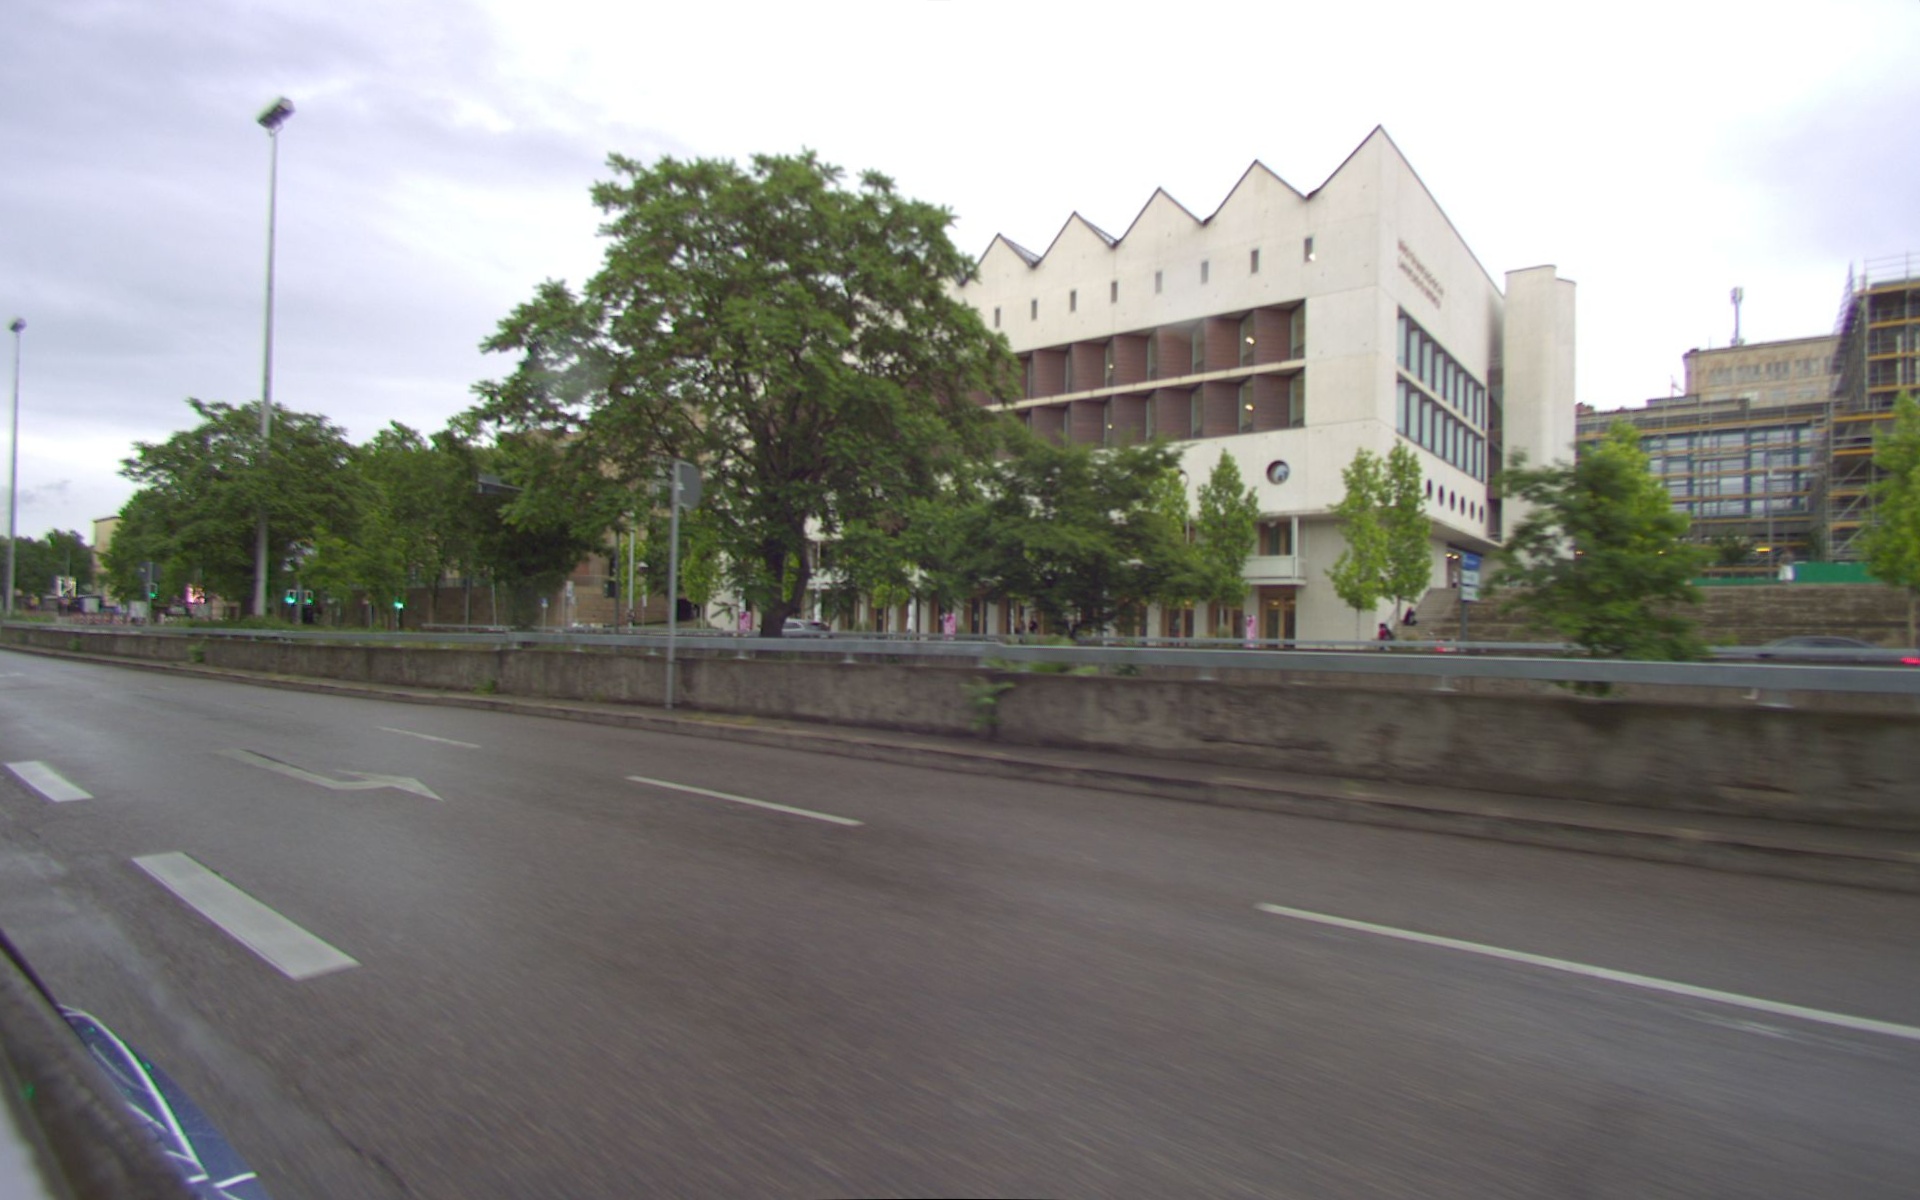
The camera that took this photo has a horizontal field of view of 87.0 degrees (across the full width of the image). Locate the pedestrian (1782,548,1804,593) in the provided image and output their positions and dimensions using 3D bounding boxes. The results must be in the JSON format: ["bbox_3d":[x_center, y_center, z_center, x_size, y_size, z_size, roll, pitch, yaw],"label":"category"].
[{"bbox_3d":[38.740,-1.362,47.090,0.602,2.029,0.635,0,0,21],"label":"pedestrian"}]

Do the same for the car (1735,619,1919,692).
[{"bbox_3d":[20.756,1.277,24.203,3.470,1.567,1.678,0,0,37],"label":"car"}]

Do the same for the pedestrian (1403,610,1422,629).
[{"bbox_3d":[21.757,0.930,48.657,0.628,0.894,0.798,0,0,41],"label":"pedestrian"}]

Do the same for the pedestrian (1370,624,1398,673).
[{"bbox_3d":[16.911,1.912,40.332,0.827,1.880,1.076,0,0,34],"label":"pedestrian"}]

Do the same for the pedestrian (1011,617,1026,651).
[{"bbox_3d":[3.321,1.923,57.435,0.729,1.873,0.703,0,0,-8],"label":"pedestrian"}]

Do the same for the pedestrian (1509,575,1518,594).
[{"bbox_3d":[33.743,-0.939,61.708,0.413,1.120,0.313,0,-1,-34],"label":"pedestrian"}]

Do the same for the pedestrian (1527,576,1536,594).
[{"bbox_3d":[35.602,-0.929,63.014,0.307,1.120,0.420,0,0,1],"label":"pedestrian"}]

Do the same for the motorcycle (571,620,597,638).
[{"bbox_3d":[-26.504,2.036,71.408,0.603,1.191,1.800,0,0,26],"label":"motorcycle"}]

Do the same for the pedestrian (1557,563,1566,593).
[{"bbox_3d":[31.625,-1.162,53.220,0.312,1.585,0.311,0,0,12],"label":"pedestrian"}]

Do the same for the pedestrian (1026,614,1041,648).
[{"bbox_3d":[4.141,1.750,57.222,0.729,1.873,0.703,0,0,-8],"label":"pedestrian"}]

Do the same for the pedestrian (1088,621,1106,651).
[{"bbox_3d":[7.478,1.964,55.288,0.728,1.639,0.704,0,0,-31],"label":"pedestrian"}]

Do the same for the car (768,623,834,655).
[{"bbox_3d":[-7.115,1.720,45.161,2.816,1.287,1.283,0,0,35],"label":"car"}]
